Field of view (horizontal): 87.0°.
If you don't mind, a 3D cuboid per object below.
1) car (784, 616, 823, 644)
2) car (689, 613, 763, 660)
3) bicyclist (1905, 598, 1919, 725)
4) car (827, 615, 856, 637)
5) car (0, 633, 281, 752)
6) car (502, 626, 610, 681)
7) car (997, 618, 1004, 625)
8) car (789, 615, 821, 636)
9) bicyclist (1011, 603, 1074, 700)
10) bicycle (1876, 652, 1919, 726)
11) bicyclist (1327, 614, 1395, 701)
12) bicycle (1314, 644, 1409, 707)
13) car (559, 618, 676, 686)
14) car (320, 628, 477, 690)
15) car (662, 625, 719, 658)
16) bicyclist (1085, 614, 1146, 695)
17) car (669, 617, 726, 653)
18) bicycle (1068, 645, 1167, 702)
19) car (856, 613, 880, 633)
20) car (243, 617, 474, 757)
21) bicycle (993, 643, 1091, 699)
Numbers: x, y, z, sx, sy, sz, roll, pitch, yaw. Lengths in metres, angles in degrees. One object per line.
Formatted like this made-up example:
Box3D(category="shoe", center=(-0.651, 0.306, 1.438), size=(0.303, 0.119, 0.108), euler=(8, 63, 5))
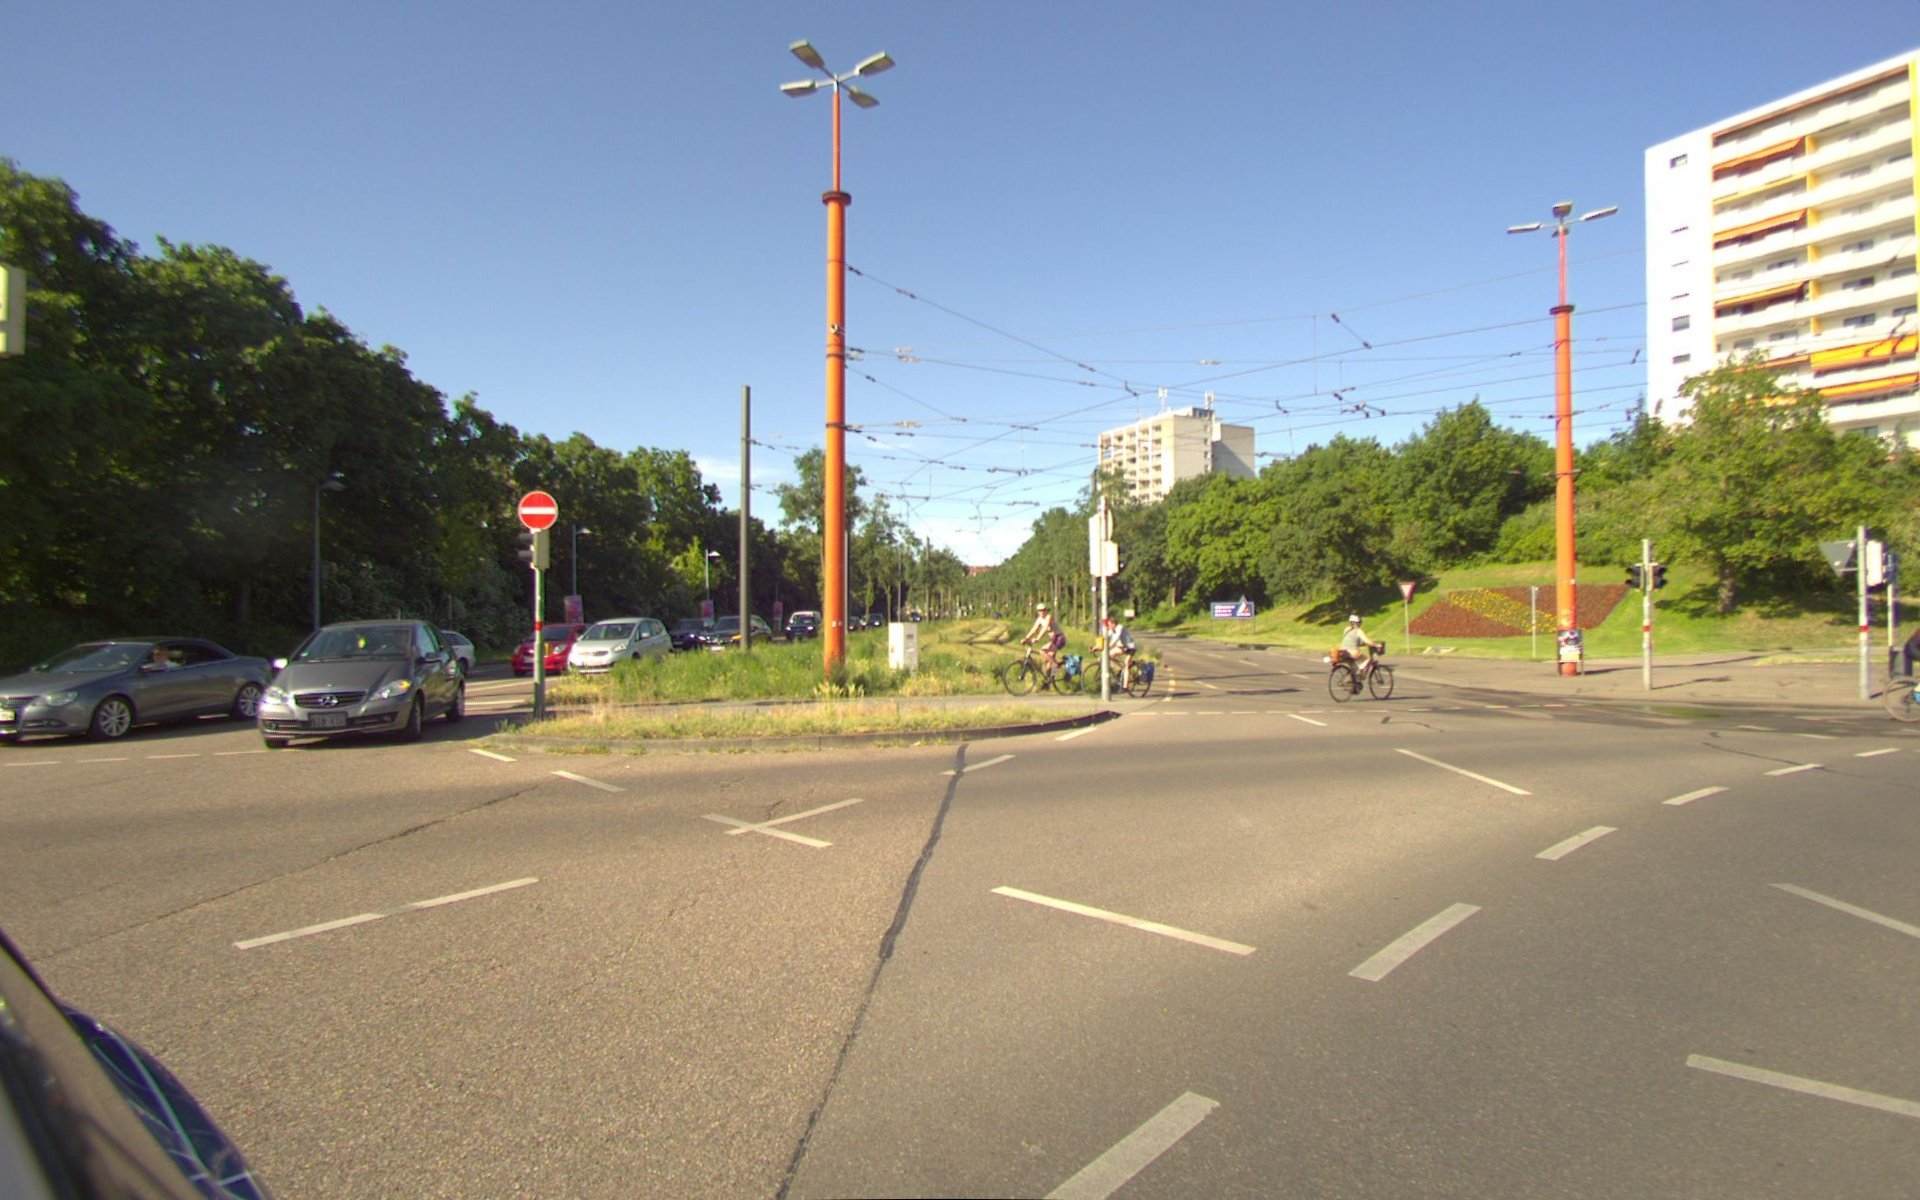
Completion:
Box3D(category="car", center=(-9.964, 1.891, 64.735), size=(1.727, 1.674, 3.997), euler=(-2, -1, 2))
Box3D(category="car", center=(-8.762, 1.354, 38.172), size=(1.727, 1.674, 3.997), euler=(-1, -1, 2))
Box3D(category="bicyclist", center=(15.004, 0.917, 15.142), size=(0.675, 1.927, 0.994), euler=(-2, -1, -17))
Box3D(category="car", center=(-9.147, 1.976, 78.349), size=(1.610, 1.576, 3.810), euler=(-2, -1, 2))
Box3D(category="car", center=(-12.465, 1.270, 15.155), size=(1.692, 1.449, 4.168), euler=(-1, -1, 2))
Box3D(category="car", center=(-12.101, 1.570, 30.536), size=(1.664, 1.456, 3.725), euler=(-2, -1, 2))
Box3D(category="car", center=(9.194, 4.884, 231.104), size=(1.558, 1.431, 3.906), euler=(-2, -2, 3))
Box3D(category="car", center=(-12.108, 1.975, 79.312), size=(1.692, 1.505, 3.960), euler=(-1, -1, 2))
Box3D(category="bicyclist", center=(1.656, 1.023, 20.482), size=(0.908, 1.881, 0.896), euler=(-2, -1, -21))
Box3D(category="bicycle", center=(15.059, 1.352, 15.111), size=(0.680, 1.079, 1.922), euler=(-2, -1, -20))
Box3D(category="bicyclist", center=(7.746, 1.101, 19.576), size=(0.813, 1.634, 0.895), euler=(1, -2, -33))
Box3D(category="bicycle", center=(7.784, 1.435, 19.583), size=(1.883, 1.139, 0.742), euler=(1, -3, -33))
Box3D(category="car", center=(-9.383, 1.371, 28.051), size=(1.727, 1.674, 3.997), euler=(-2, -1, 2))
Box3D(category="car", center=(-15.264, 1.556, 27.809), size=(1.727, 1.447, 4.382), euler=(-2, -1, 3))
Box3D(category="car", center=(-13.509, 2.057, 50.948), size=(1.692, 1.505, 3.960), euler=(-1, -1, 2))
Box3D(category="bicyclist", center=(3.073, 1.064, 20.035), size=(0.908, 1.536, 0.723), euler=(-2, -1, -20))
Box3D(category="car", center=(-13.386, 1.755, 51.834), size=(1.727, 1.674, 3.997), euler=(-2, -1, 2))
Box3D(category="bicycle", center=(3.125, 1.442, 20.039), size=(1.882, 1.080, 0.581), euler=(1, -2, -21))
Box3D(category="car", center=(-8.412, 2.102, 92.852), size=(1.673, 1.674, 3.824), euler=(-2, -1, 2))
Box3D(category="car", center=(-8.189, 1.068, 14.193), size=(1.721, 1.653, 4.011), euler=(0, -1, -14))
Box3D(category="bicycle", center=(1.663, 1.434, 20.457), size=(1.883, 1.080, 0.581), euler=(2, -2, -20))
